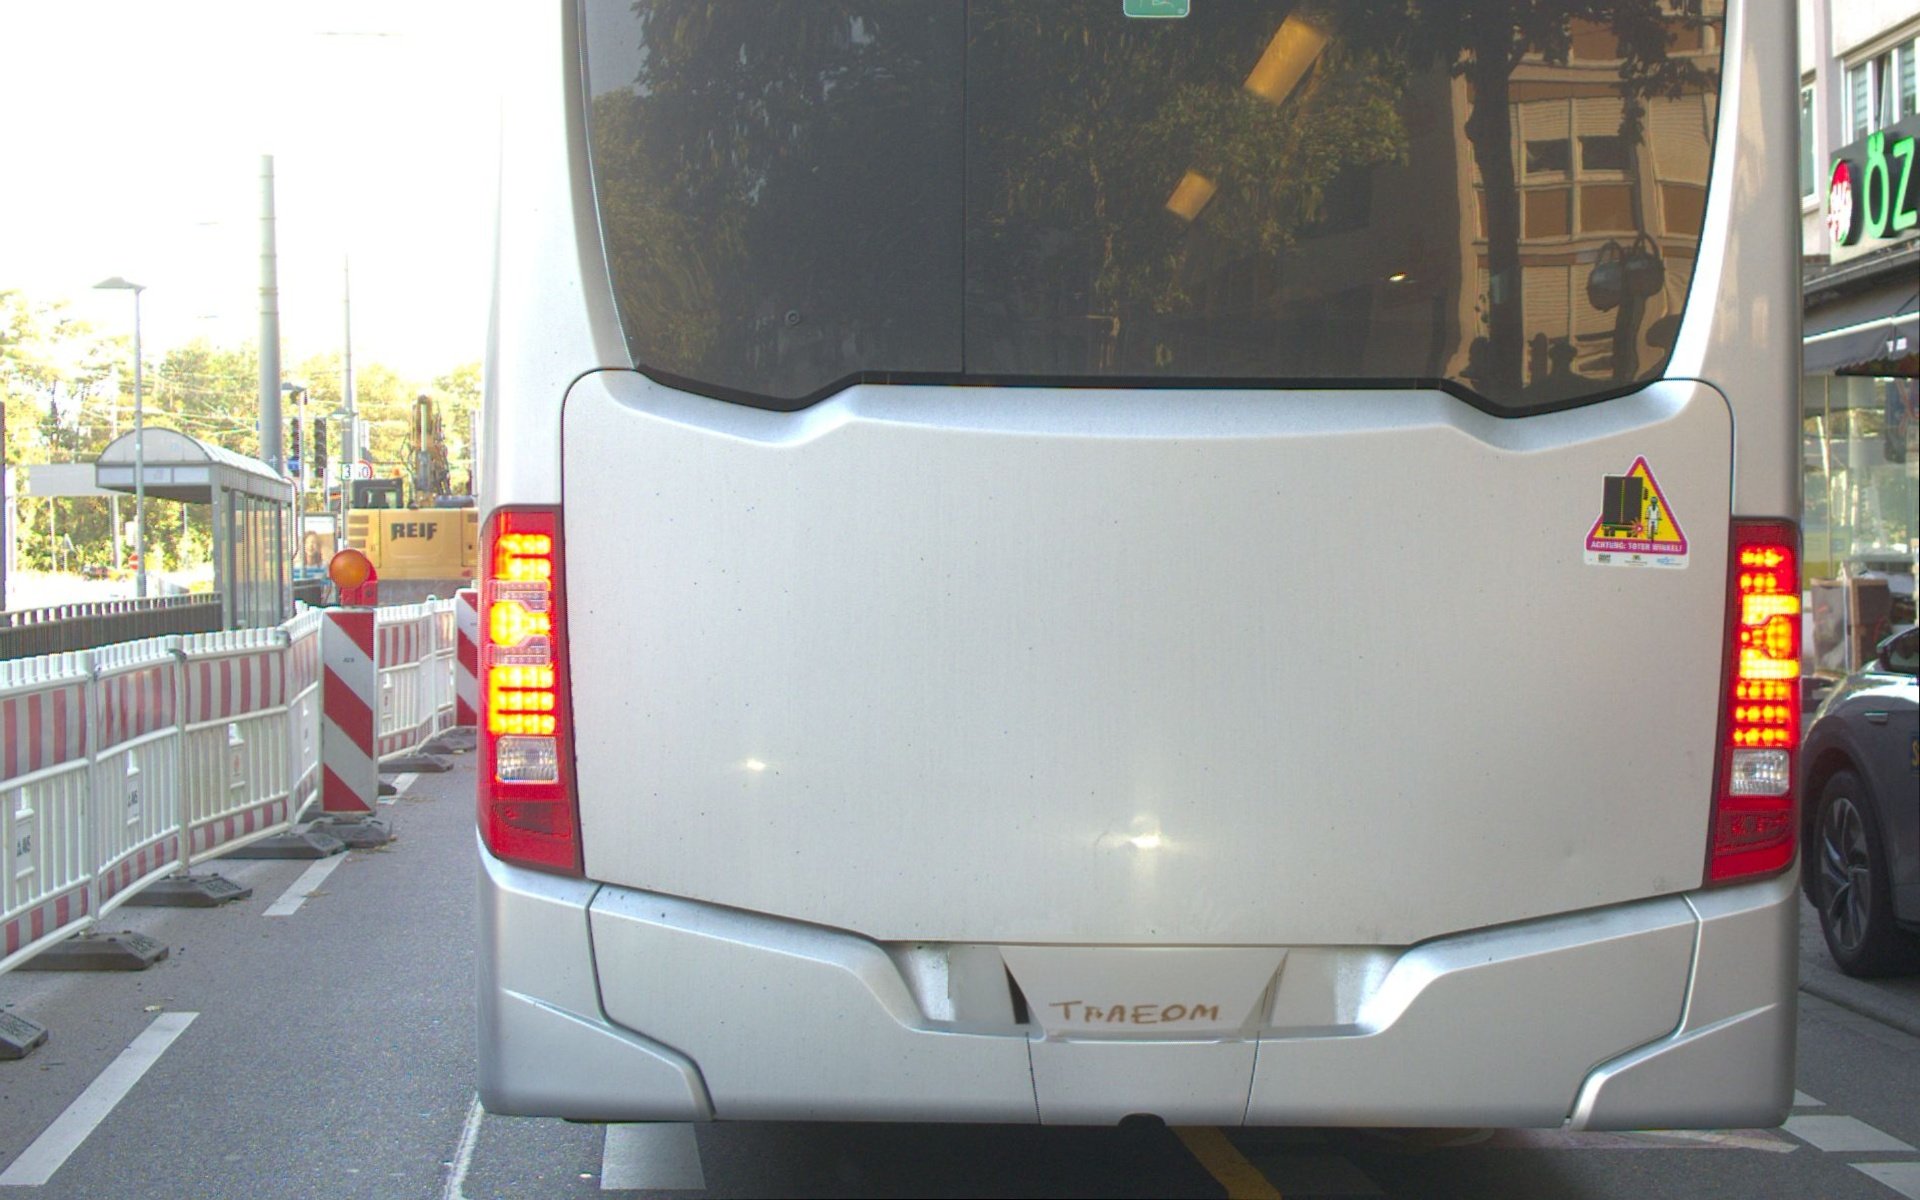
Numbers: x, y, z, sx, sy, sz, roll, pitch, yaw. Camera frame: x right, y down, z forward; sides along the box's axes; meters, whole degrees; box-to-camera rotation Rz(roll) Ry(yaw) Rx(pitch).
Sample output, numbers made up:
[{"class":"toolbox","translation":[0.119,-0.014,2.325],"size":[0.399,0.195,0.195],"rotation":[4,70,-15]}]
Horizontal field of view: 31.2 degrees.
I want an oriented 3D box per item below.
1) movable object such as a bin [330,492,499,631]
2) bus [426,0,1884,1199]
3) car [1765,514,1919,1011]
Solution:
[{"class":"movable object such as a bin","translation":[-10.051,-0.715,63.681],"size":[2.806,2.453,4.001],"rotation":[-1,1,-5]},{"class":"bus","translation":[0.357,-0.271,11.307],"size":[2.608,3.159,10.292],"rotation":[0,1,0]},{"class":"car","translation":[3.997,0.495,10.315],"size":[1.739,1.592,4.300],"rotation":[-3,1,-5]}]
